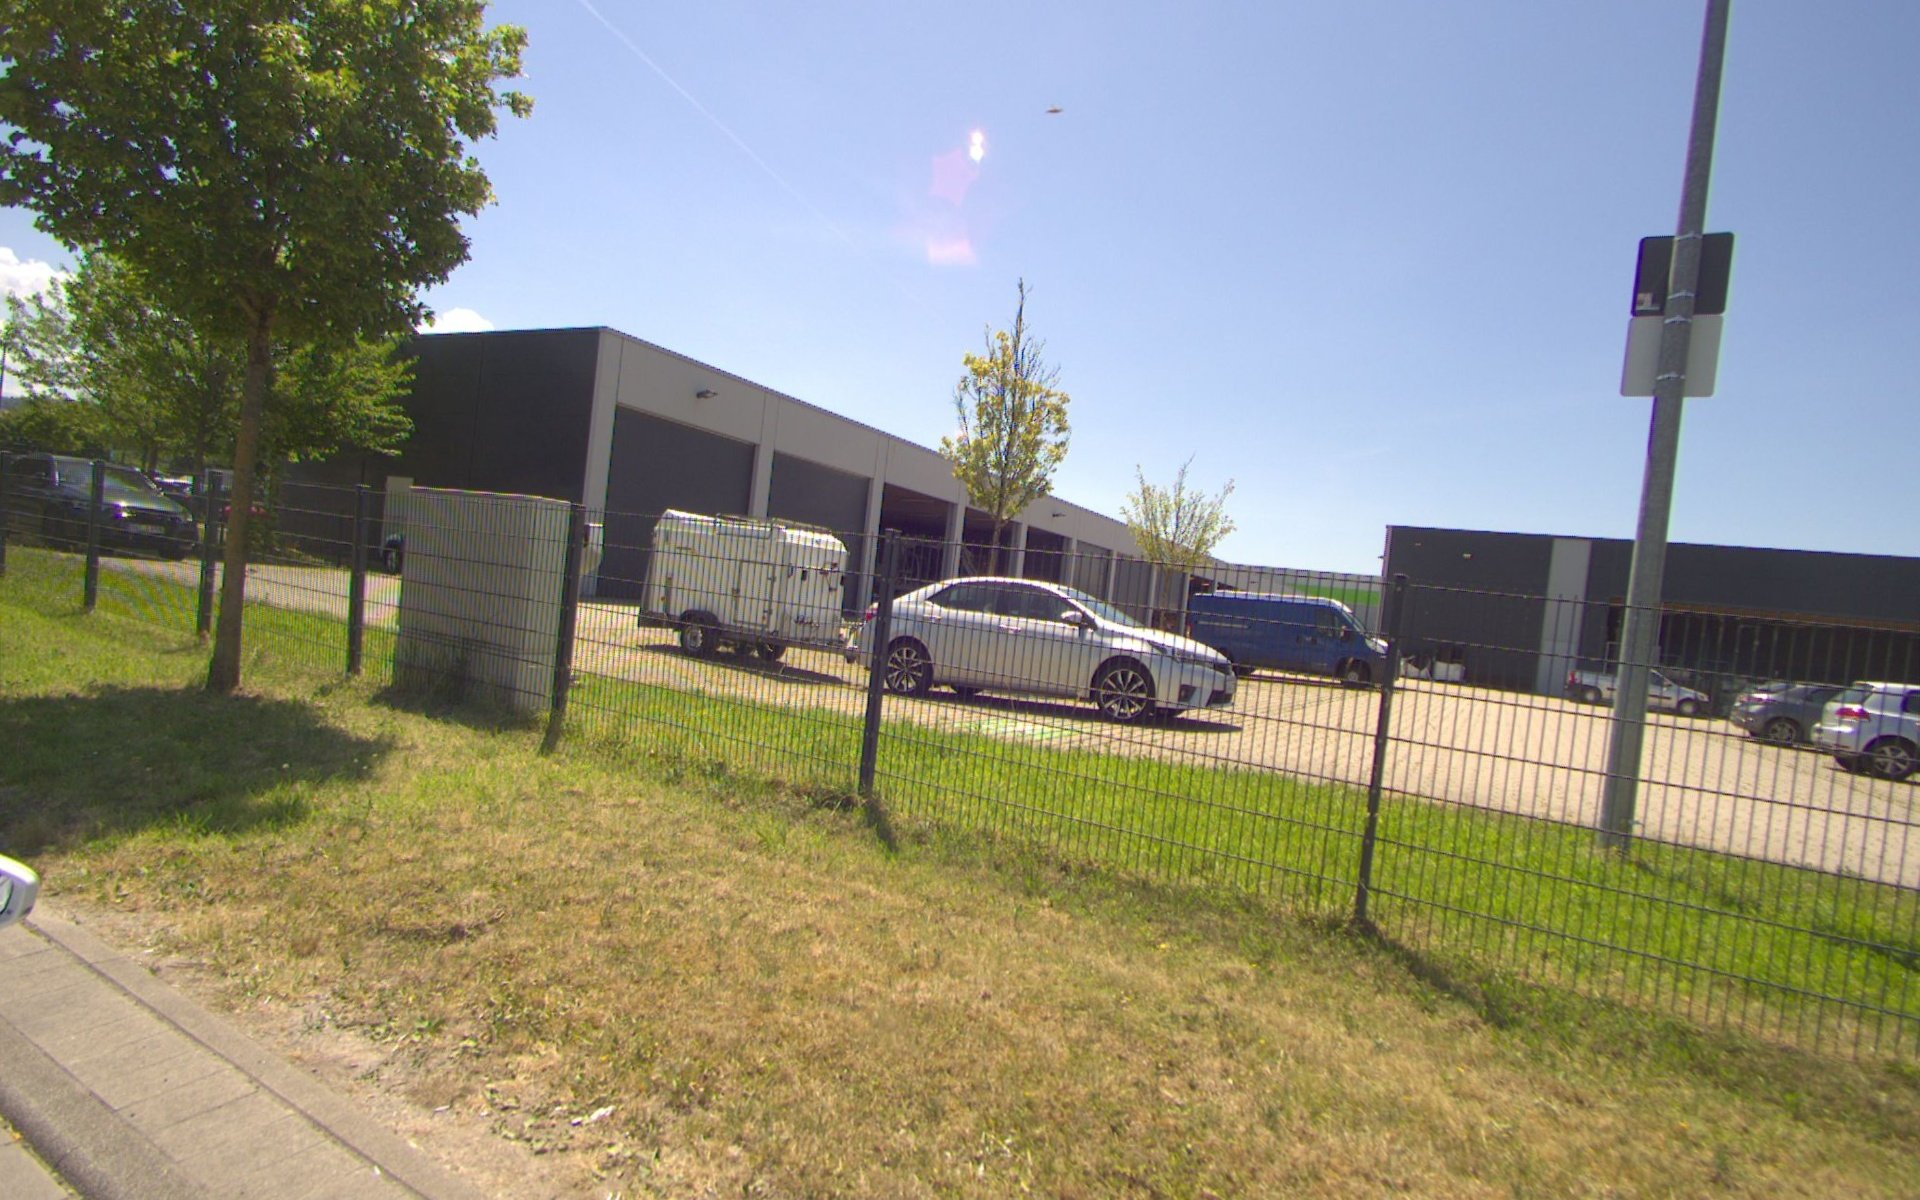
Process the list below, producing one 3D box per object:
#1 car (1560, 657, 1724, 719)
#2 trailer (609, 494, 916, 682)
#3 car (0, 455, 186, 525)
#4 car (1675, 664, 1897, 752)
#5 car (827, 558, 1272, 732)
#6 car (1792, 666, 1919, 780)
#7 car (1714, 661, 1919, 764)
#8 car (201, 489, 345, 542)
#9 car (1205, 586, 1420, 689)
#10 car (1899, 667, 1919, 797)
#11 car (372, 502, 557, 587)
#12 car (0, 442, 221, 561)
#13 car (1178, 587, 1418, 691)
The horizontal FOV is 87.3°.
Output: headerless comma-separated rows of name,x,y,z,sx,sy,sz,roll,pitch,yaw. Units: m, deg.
car,24.198,3.093,35.917,4.528,1.517,1.852,7,1,29
trailer,-2.770,-0.181,13.992,3.675,2.024,1.852,9,1,30
car,-29.058,-3.640,33.838,1.750,1.587,4.396,9,1,30
car,20.287,2.606,24.944,3.859,1.517,1.851,7,1,31
car,0.961,0.453,11.792,4.775,1.517,1.852,4,-2,30
car,15.320,2.030,15.177,3.859,1.517,1.851,7,1,31
car,18.946,2.415,21.477,4.182,1.652,1.964,7,1,31
car,-26.446,-3.224,38.847,1.750,1.374,4.163,9,1,30
car,10.343,1.078,29.622,5.581,2.487,2.194,4,-1,28
car,12.771,1.723,10.520,3.859,1.517,1.851,7,1,31
car,-11.705,-1.320,23.732,4.100,1.586,1.777,6,0,28
car,-14.633,-1.679,16.973,4.209,1.622,1.777,6,0,28
car,9.027,1.006,27.015,5.733,2.252,2.141,4,-1,28
